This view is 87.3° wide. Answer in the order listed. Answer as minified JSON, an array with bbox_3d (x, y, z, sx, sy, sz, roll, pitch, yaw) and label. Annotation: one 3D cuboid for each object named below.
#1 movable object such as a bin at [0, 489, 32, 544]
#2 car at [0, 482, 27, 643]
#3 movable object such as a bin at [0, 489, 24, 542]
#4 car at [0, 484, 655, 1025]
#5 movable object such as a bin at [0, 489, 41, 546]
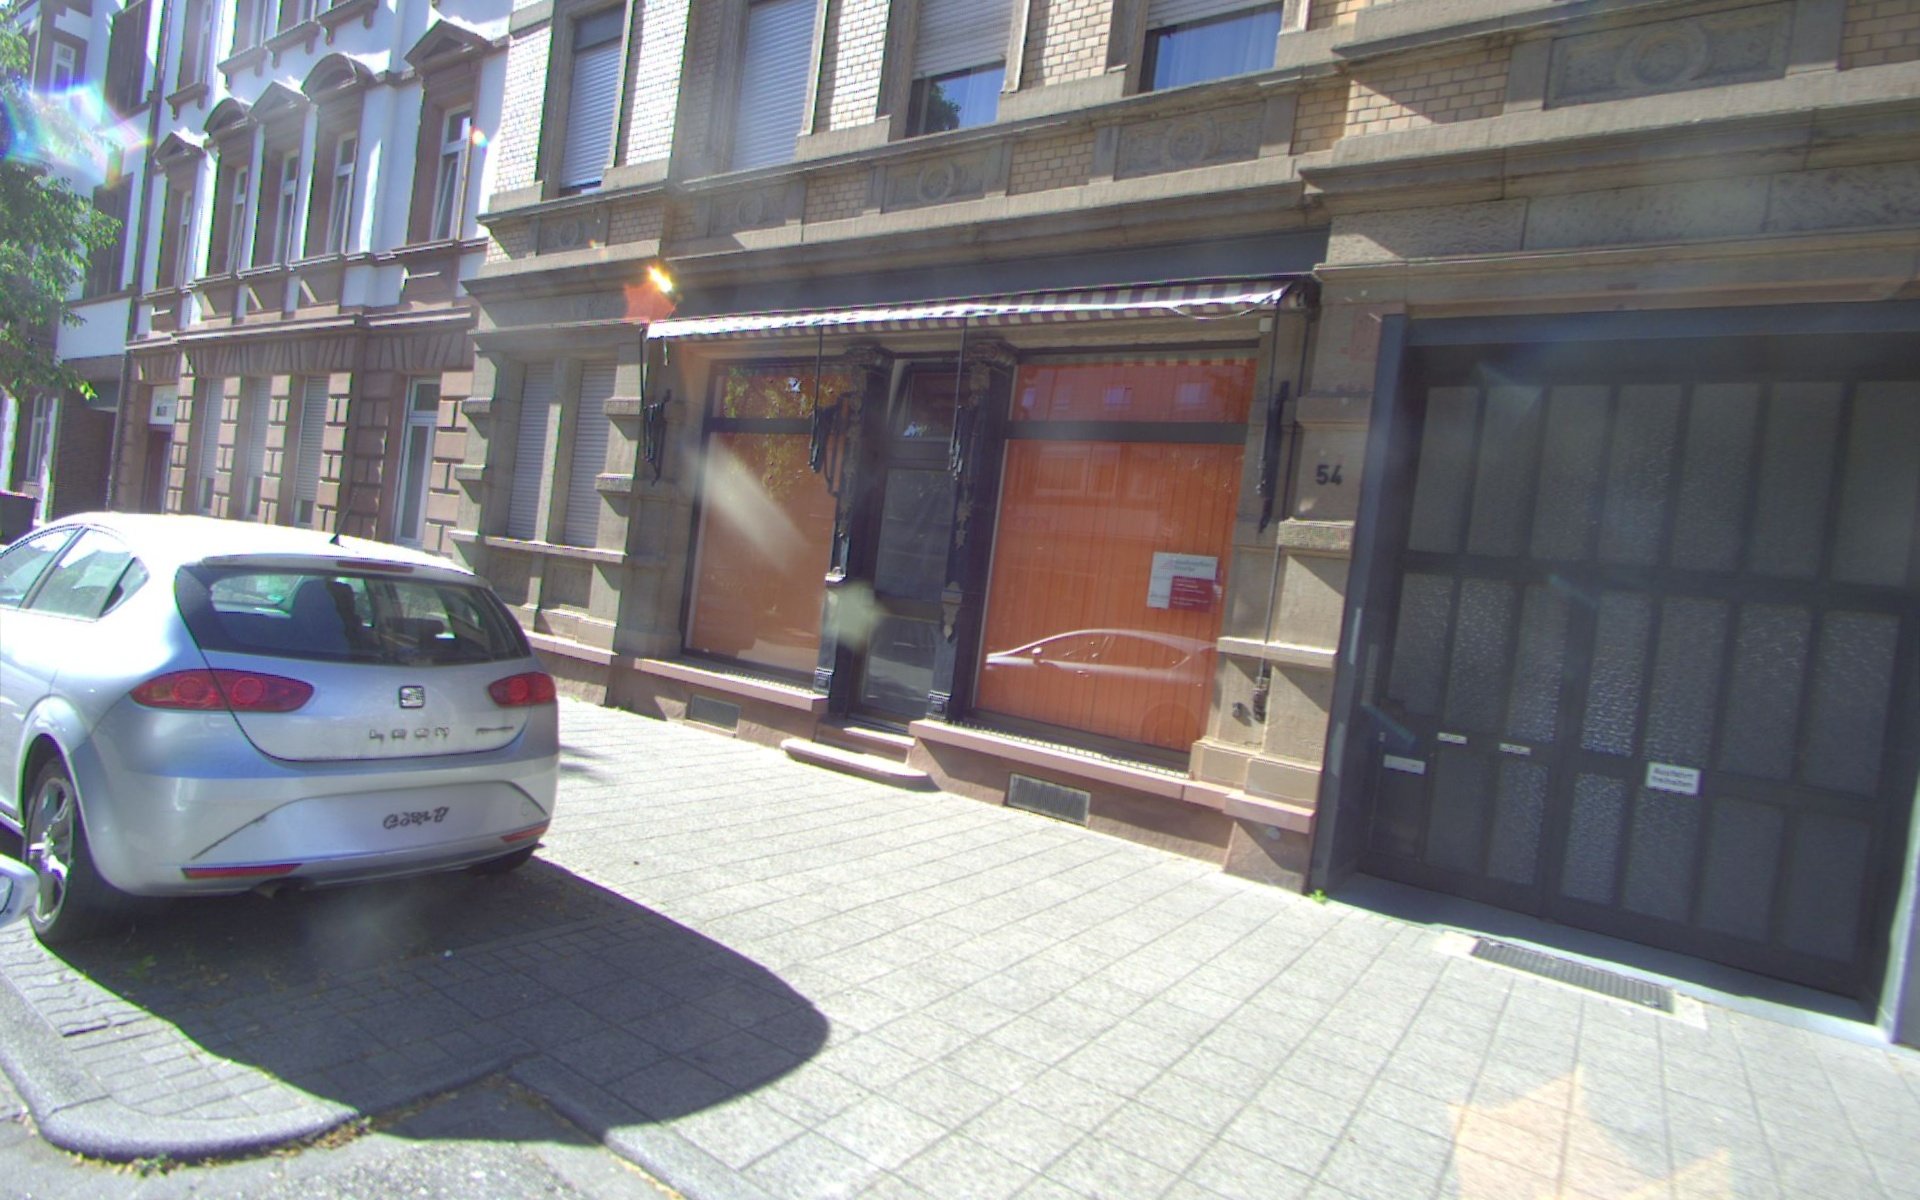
[{"bbox_3d":[-20.171,-1.783,21.258,0.513,1.082,0.638,8,1,34],"label":"movable object such as a bin"},{"bbox_3d":[-10.953,-0.629,9.795,4.238,1.469,1.740,8,1,34],"label":"car"},{"bbox_3d":[-20.649,-1.847,21.575,0.622,1.082,0.638,8,1,34],"label":"movable object such as a bin"},{"bbox_3d":[-3.491,0.344,4.710,3.935,1.469,1.740,8,1,34],"label":"car"},{"bbox_3d":[-19.708,-1.724,20.949,0.629,1.082,0.638,8,1,34],"label":"movable object such as a bin"}]
